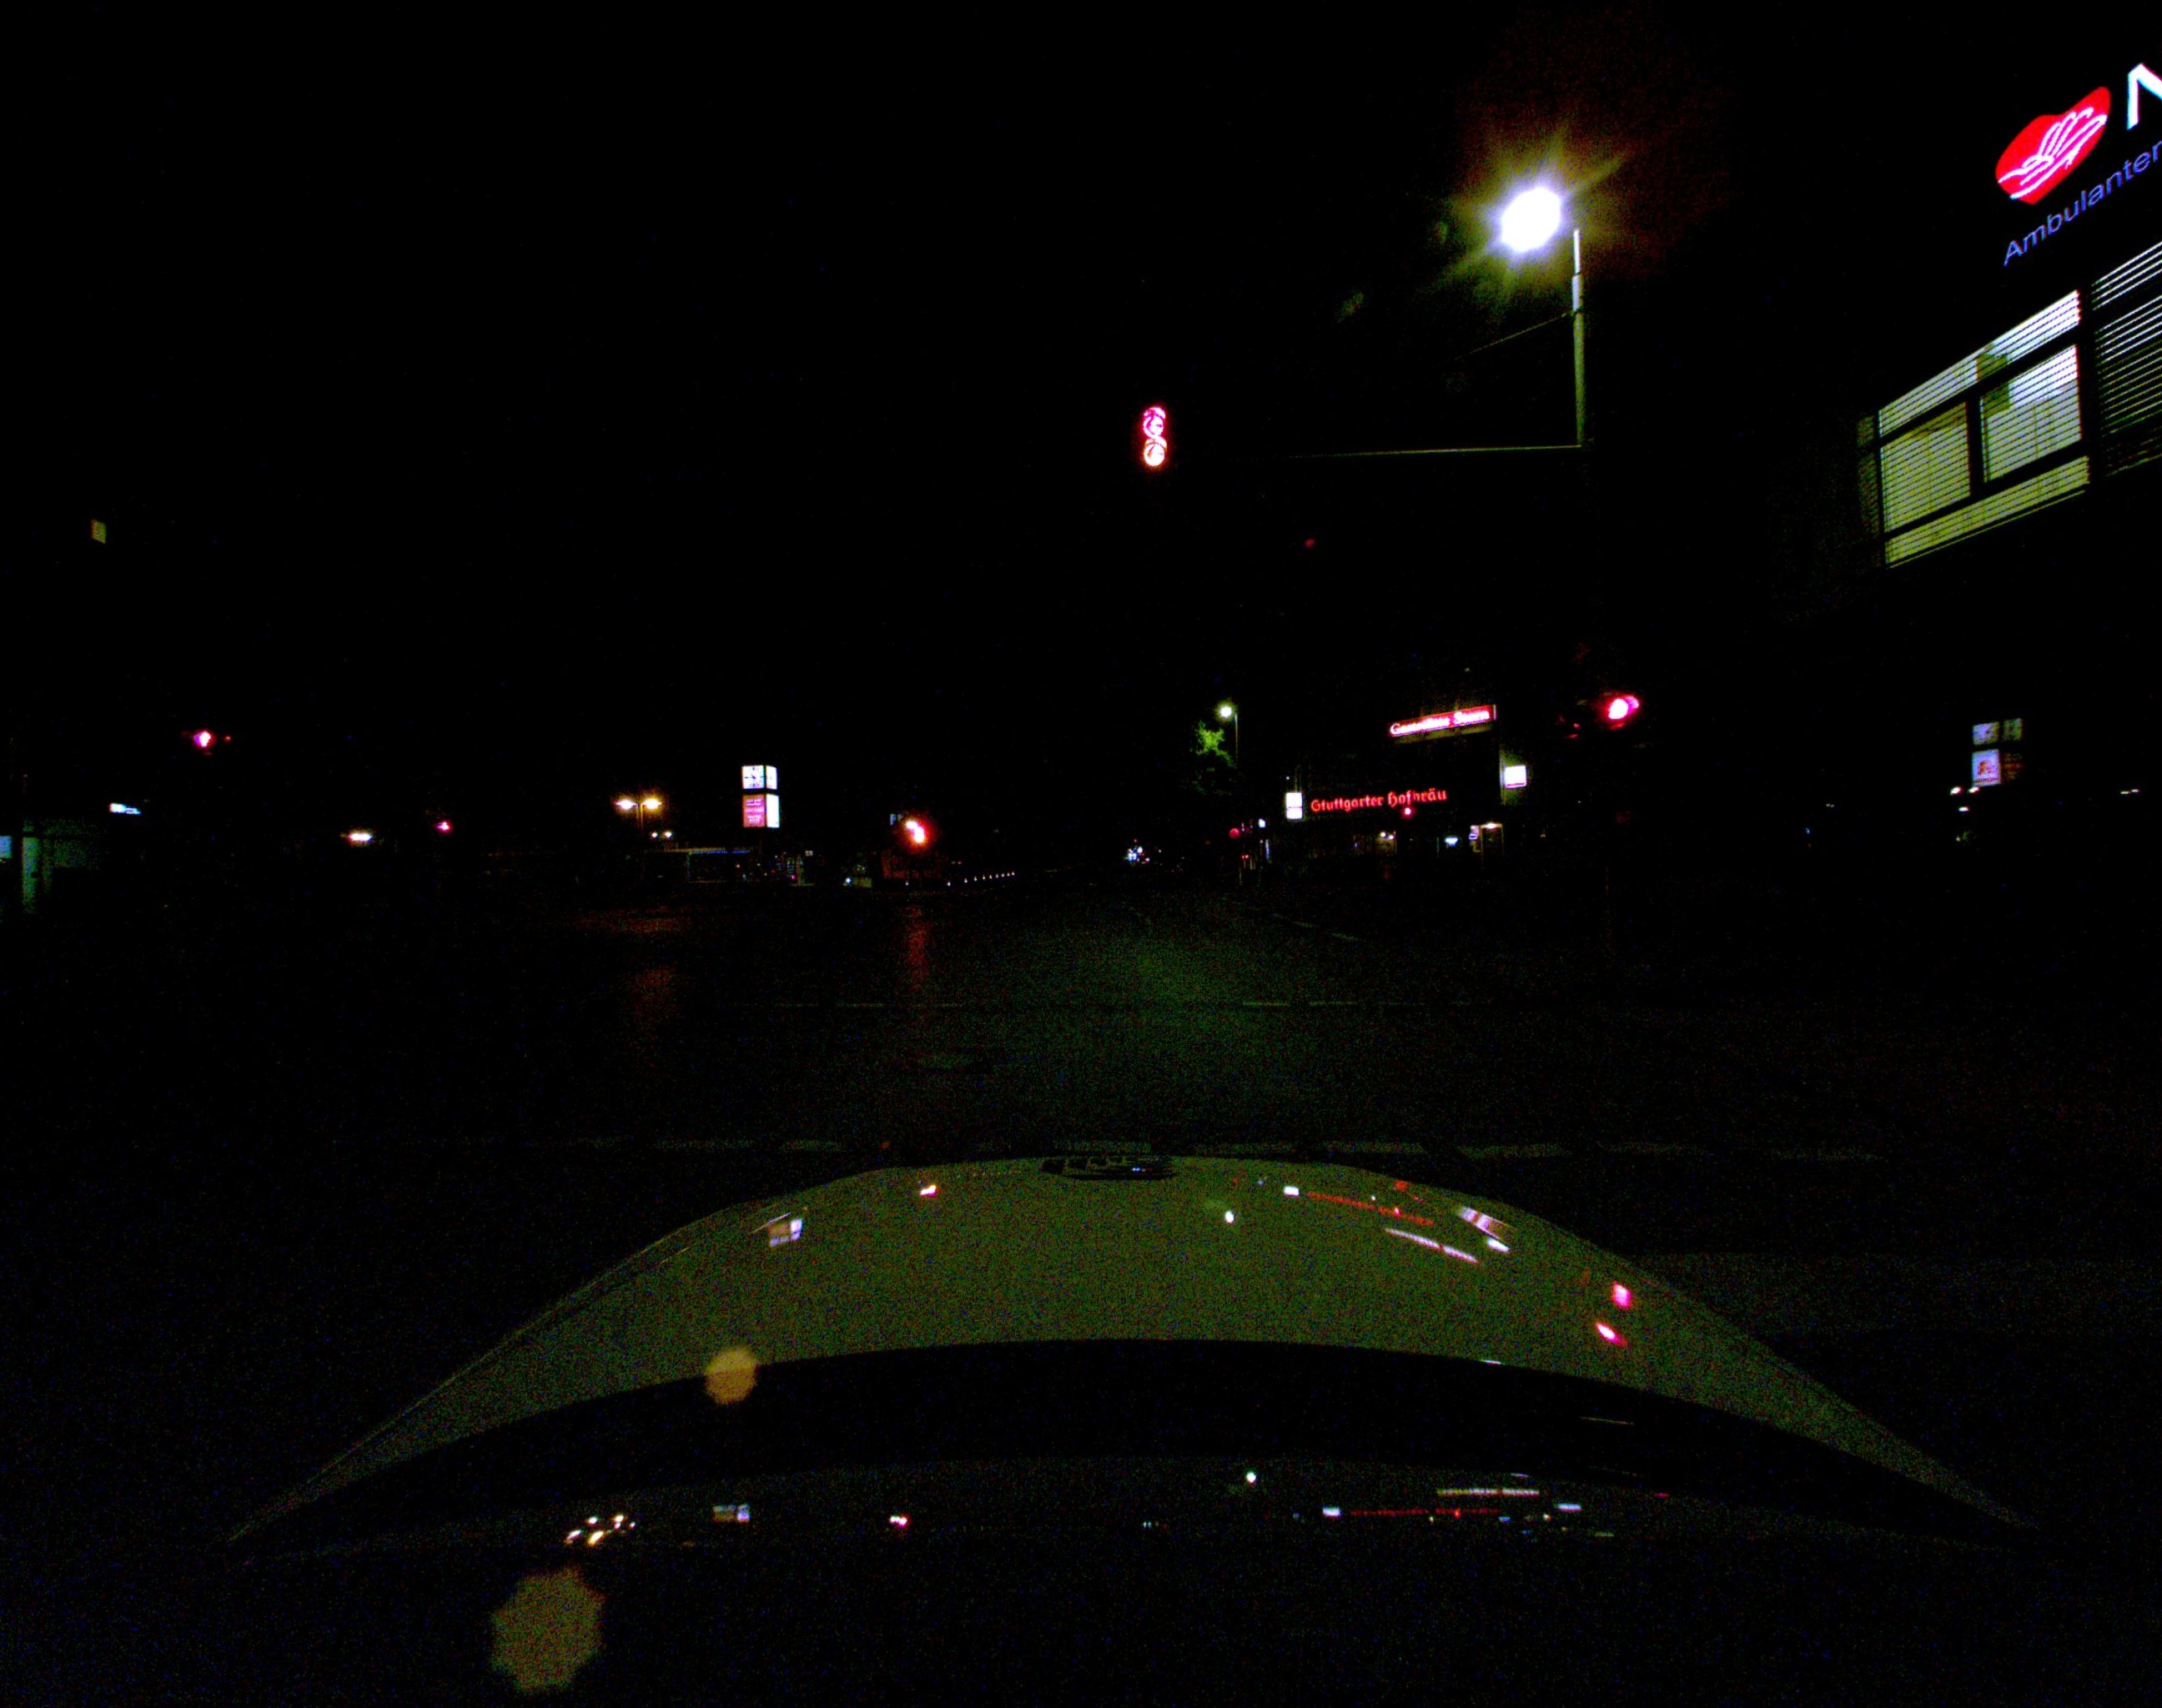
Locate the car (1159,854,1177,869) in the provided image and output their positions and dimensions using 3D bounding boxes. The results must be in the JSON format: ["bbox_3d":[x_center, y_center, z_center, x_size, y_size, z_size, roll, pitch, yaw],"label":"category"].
[{"bbox_3d":[10.054,0.878,94.432,1.868,1.683,4.005,-2,-1,5],"label":"car"}]

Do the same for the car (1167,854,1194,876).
[{"bbox_3d":[7.726,0.870,63.628,1.868,1.615,4.005,-2,-1,5],"label":"car"}]

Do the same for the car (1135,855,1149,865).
[{"bbox_3d":[9.143,0.861,122.187,1.866,1.454,4.319,0,-1,3],"label":"car"}]

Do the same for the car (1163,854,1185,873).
[{"bbox_3d":[8.681,0.878,76.434,1.868,1.729,4.005,-2,-1,5],"label":"car"}]

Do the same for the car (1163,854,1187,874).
[{"bbox_3d":[7.886,0.831,68.778,1.868,1.615,4.005,-2,-1,5],"label":"car"}]
